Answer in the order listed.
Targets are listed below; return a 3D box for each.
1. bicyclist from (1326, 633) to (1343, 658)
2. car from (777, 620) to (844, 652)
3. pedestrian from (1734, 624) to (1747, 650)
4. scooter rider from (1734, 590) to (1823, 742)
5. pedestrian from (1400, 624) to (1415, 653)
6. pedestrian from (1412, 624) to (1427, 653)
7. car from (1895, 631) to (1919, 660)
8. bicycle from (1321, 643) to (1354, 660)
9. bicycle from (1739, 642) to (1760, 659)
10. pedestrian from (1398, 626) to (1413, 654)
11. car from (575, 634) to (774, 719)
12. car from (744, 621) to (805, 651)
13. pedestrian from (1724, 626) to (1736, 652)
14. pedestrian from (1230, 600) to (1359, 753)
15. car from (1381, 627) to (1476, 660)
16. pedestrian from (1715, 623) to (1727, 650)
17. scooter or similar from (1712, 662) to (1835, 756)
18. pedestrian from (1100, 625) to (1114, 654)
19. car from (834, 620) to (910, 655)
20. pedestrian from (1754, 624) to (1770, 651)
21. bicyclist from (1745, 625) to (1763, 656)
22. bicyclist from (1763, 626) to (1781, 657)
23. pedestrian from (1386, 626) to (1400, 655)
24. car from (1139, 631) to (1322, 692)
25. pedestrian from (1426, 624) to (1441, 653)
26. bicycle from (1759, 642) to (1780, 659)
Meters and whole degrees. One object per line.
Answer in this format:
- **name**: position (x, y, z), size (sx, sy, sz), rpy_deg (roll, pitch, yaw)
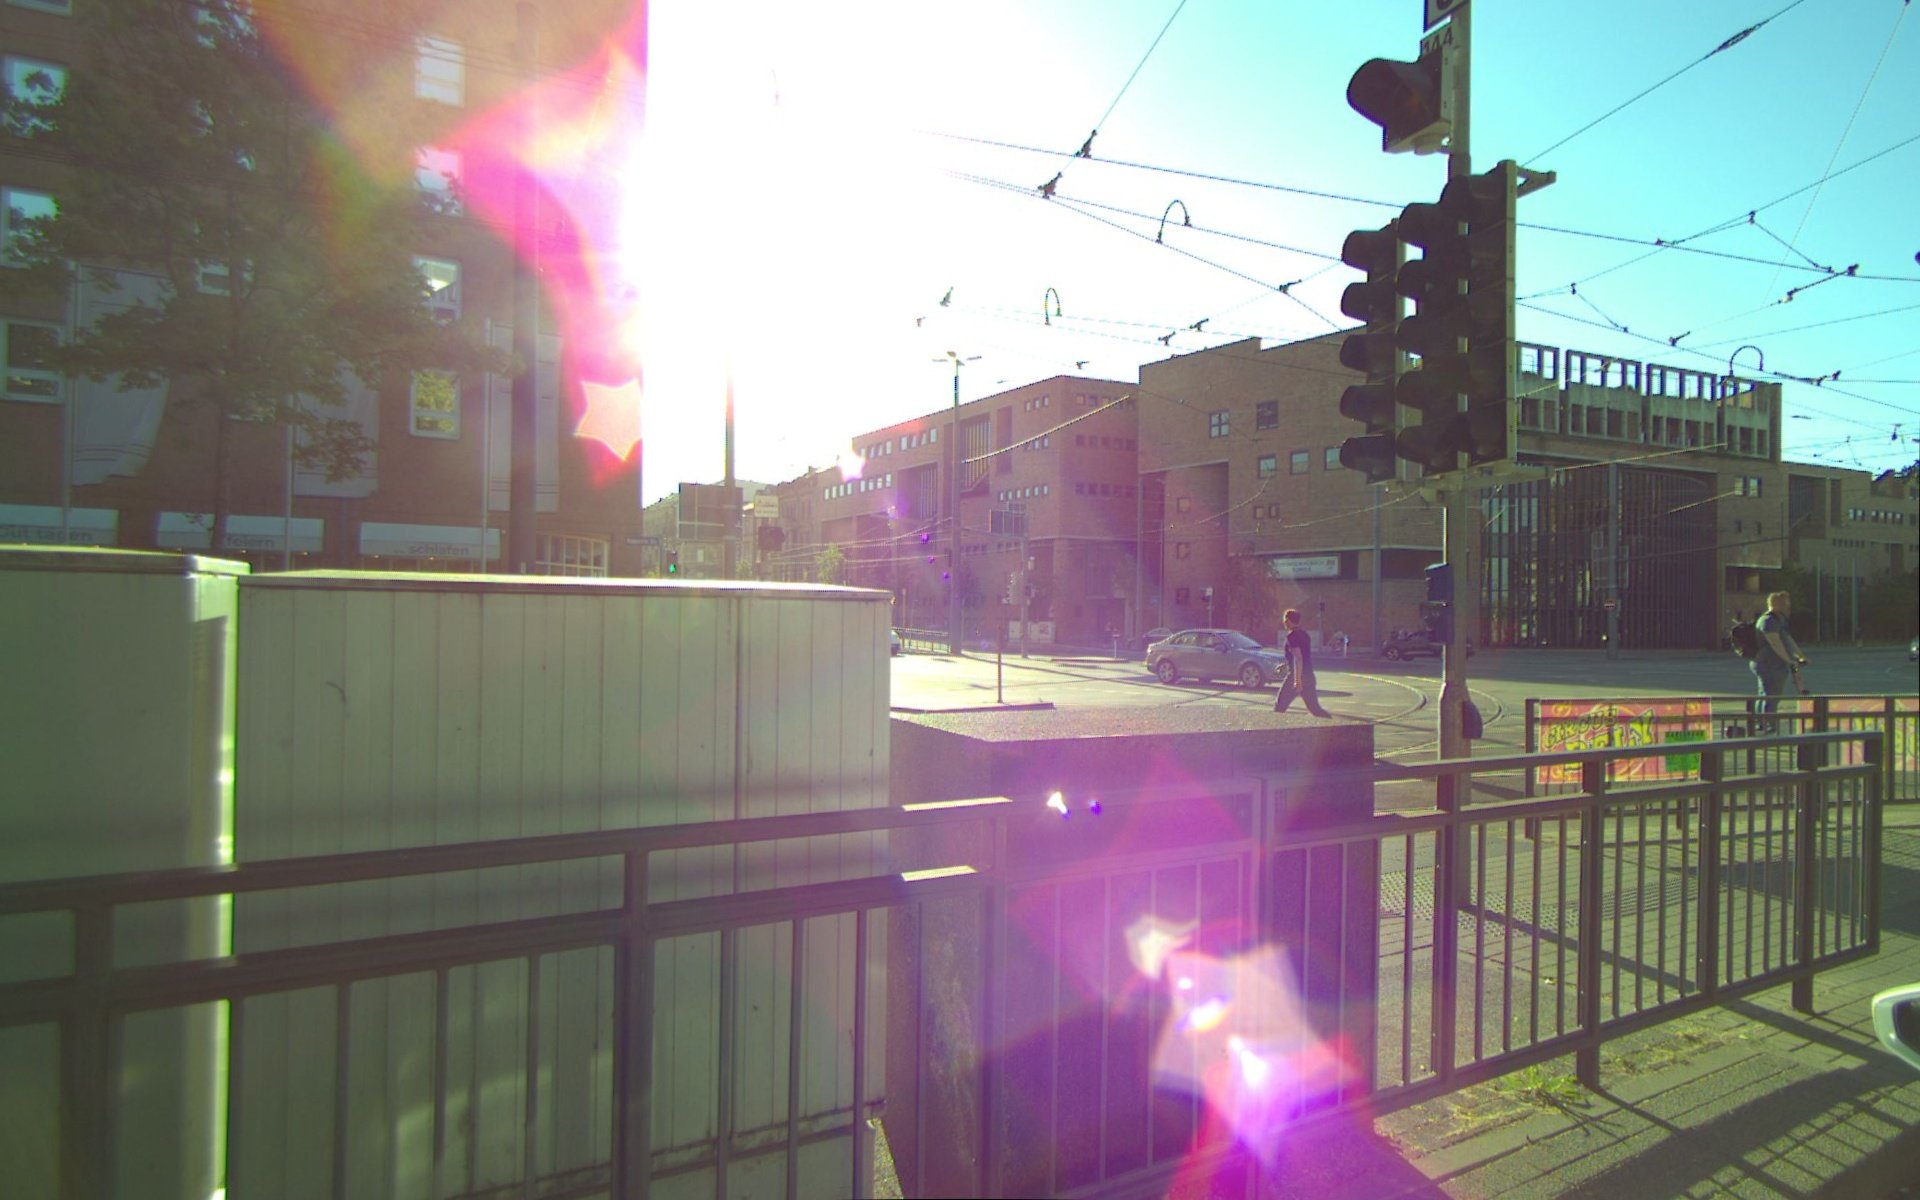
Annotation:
- **bicyclist**: position (20.848, 2.506, 55.861), size (0.809, 1.384, 0.398), rpy_deg (-1, -2, 40)
- **car**: position (-8.467, 2.015, 56.702), size (1.981, 1.719, 4.316), rpy_deg (1, -2, -36)
- **pedestrian**: position (54.574, 2.555, 70.255), size (0.538, 1.803, 0.521), rpy_deg (1, -1, -23)
- **scooter rider**: position (10.748, 0.853, 13.202), size (0.727, 1.921, 0.661), rpy_deg (1, -2, -27)
- **pedestrian**: position (26.059, 2.226, 58.495), size (0.532, 1.672, 0.620), rpy_deg (1, -1, -32)
- **pedestrian**: position (26.468, 2.228, 57.886), size (0.532, 1.672, 0.620), rpy_deg (1, -1, -31)
- **car**: position (52.076, 2.419, 53.990), size (3.961, 1.528, 1.980), rpy_deg (1, -2, -36)
- **bicycle**: position (20.952, 2.865, 55.762), size (1.721, 0.911, 0.407), rpy_deg (-1, -2, 41)
- **bicycle**: position (44.354, 2.830, 56.427), size (1.823, 0.893, 0.509), rpy_deg (2, -2, -38)
- **pedestrian**: position (26.477, 2.365, 59.687), size (0.532, 1.672, 0.620), rpy_deg (1, -1, -32)
- **car**: position (-5.306, 1.366, 18.932), size (1.614, 1.416, 3.292), rpy_deg (-1, -2, 39)
- **car**: position (-11.435, 2.188, 61.725), size (1.981, 1.719, 4.316), rpy_deg (1, -2, -36)
- **pedestrian**: position (54.497, 2.728, 71.092), size (0.538, 1.834, 0.489), rpy_deg (1, -1, -23)
- **pedestrian**: position (4.303, 0.947, 12.938), size (1.032, 1.846, 1.200), rpy_deg (2, -1, -36)
- **car**: position (22.773, 2.093, 48.898), size (3.820, 1.527, 1.784), rpy_deg (-1, -2, 44)
- **pedestrian**: position (53.359, 2.553, 70.437), size (0.538, 1.834, 0.489), rpy_deg (1, -1, -23)
- **scooter or similar**: position (10.665, 1.404, 13.202), size (0.397, 1.119, 1.202), rpy_deg (1, -1, -26)
- **pedestrian**: position (8.629, 2.307, 59.047), size (0.608, 1.635, 0.540), rpy_deg (-1, 2, -35)
- **car**: position (-4.595, 1.908, 52.056), size (1.981, 1.719, 4.316), rpy_deg (1, -2, -36)
- **pedestrian**: position (55.165, 2.558, 69.100), size (0.537, 1.834, 0.640), rpy_deg (1, -1, -23)
- **bicyclist**: position (44.527, 2.265, 56.352), size (0.782, 1.697, 0.589), rpy_deg (1, -1, -36)
- **bicyclist**: position (45.110, 2.282, 55.816), size (0.782, 1.697, 0.589), rpy_deg (1, -1, -36)
- **pedestrian**: position (24.404, 2.281, 56.644), size (0.560, 1.635, 0.545), rpy_deg (0, -1, 1)
- **car**: position (6.862, 1.512, 25.881), size (1.980, 1.398, 4.351), rpy_deg (1, -2, -35)
- **pedestrian**: position (27.373, 2.236, 58.032), size (0.533, 1.672, 0.619), rpy_deg (1, -1, -35)
- **bicycle**: position (45.006, 2.800, 55.870), size (1.823, 0.893, 0.509), rpy_deg (2, -2, -38)
